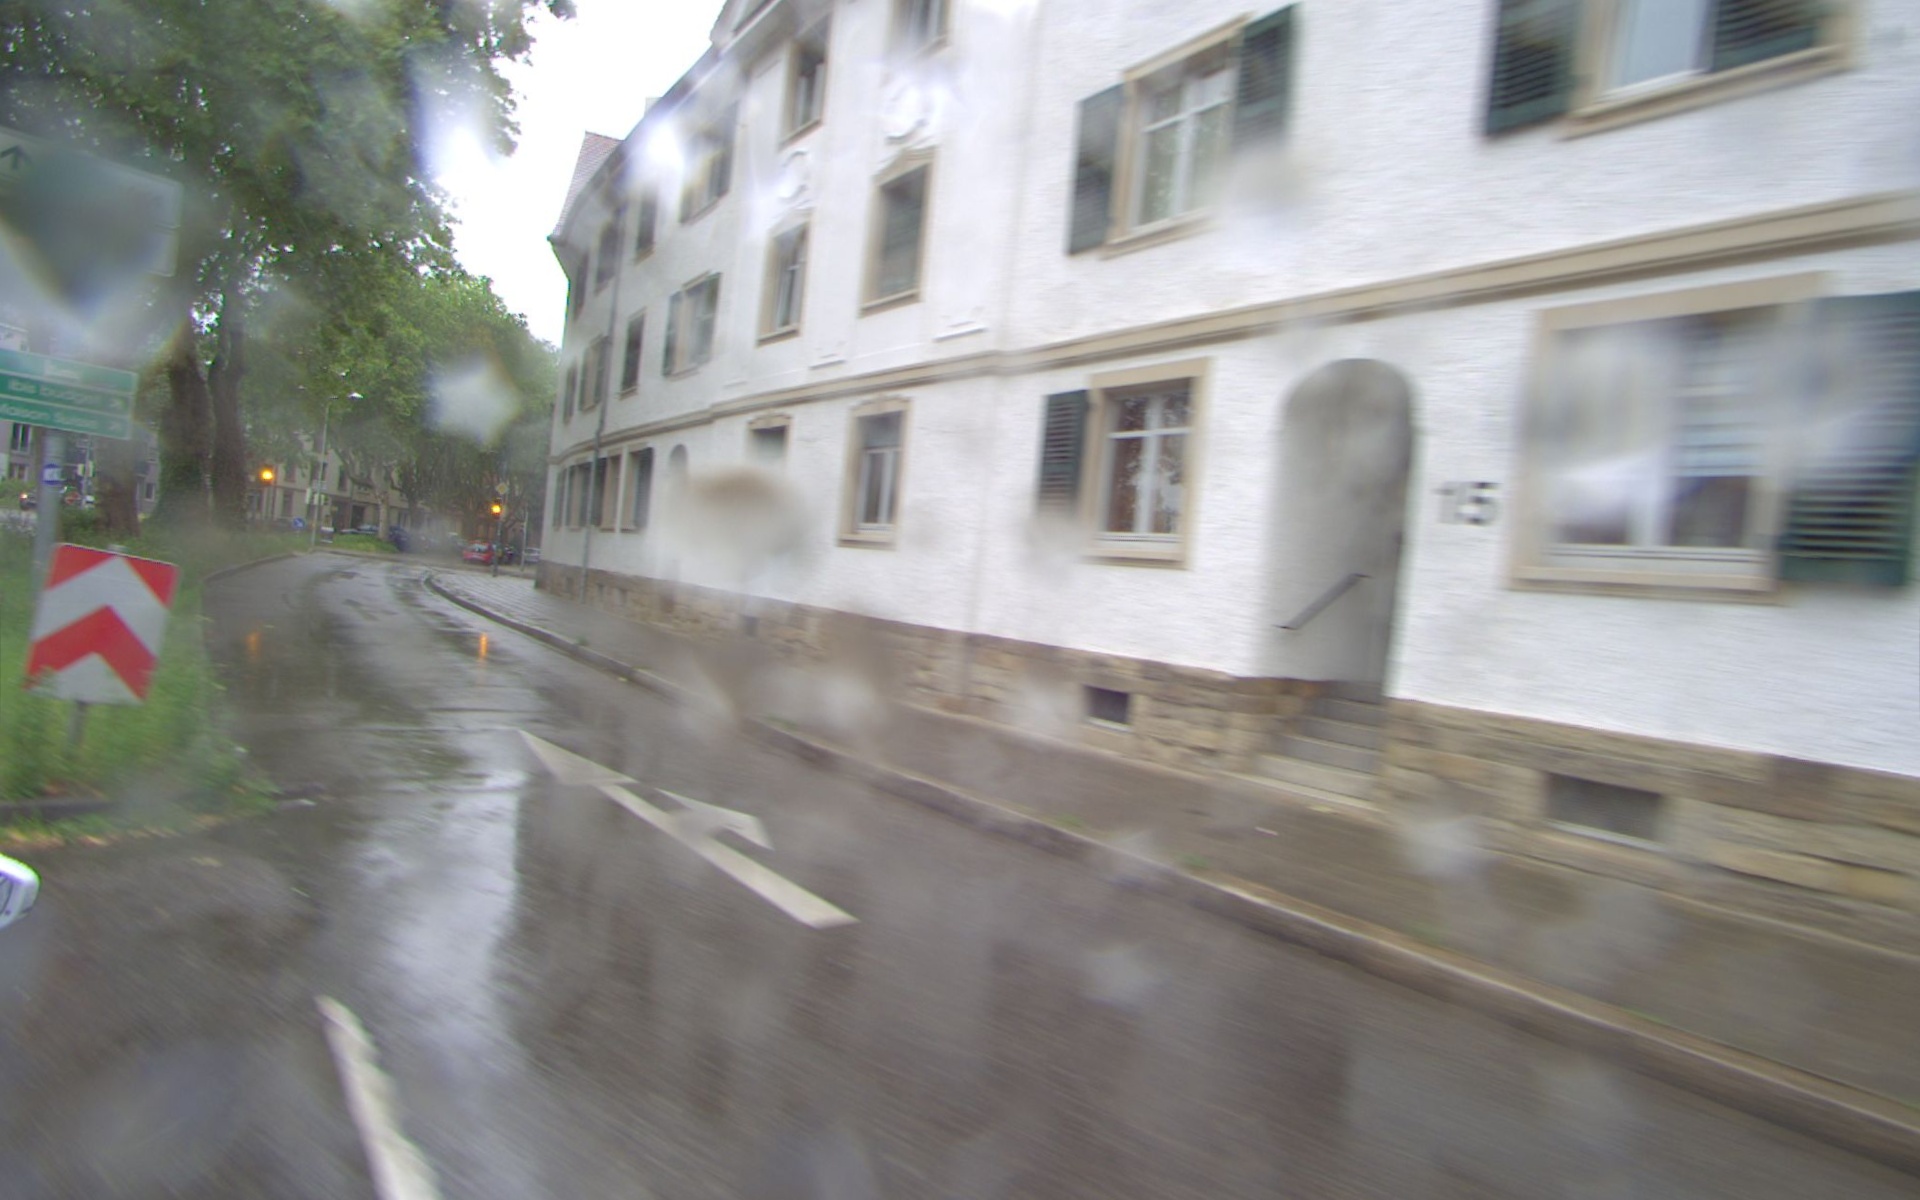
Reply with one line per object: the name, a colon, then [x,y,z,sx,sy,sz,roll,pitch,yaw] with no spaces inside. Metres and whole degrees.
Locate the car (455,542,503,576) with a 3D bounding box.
car: [-32.150,-2.716,67.371,1.967,2.040,3.987,4,1,-14]

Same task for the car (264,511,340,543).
car: [-38.847,-4.304,59.458,3.440,1.543,1.512,4,2,-22]

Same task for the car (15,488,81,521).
car: [-52.590,-5.479,58.080,1.707,1.573,3.538,4,1,-24]
